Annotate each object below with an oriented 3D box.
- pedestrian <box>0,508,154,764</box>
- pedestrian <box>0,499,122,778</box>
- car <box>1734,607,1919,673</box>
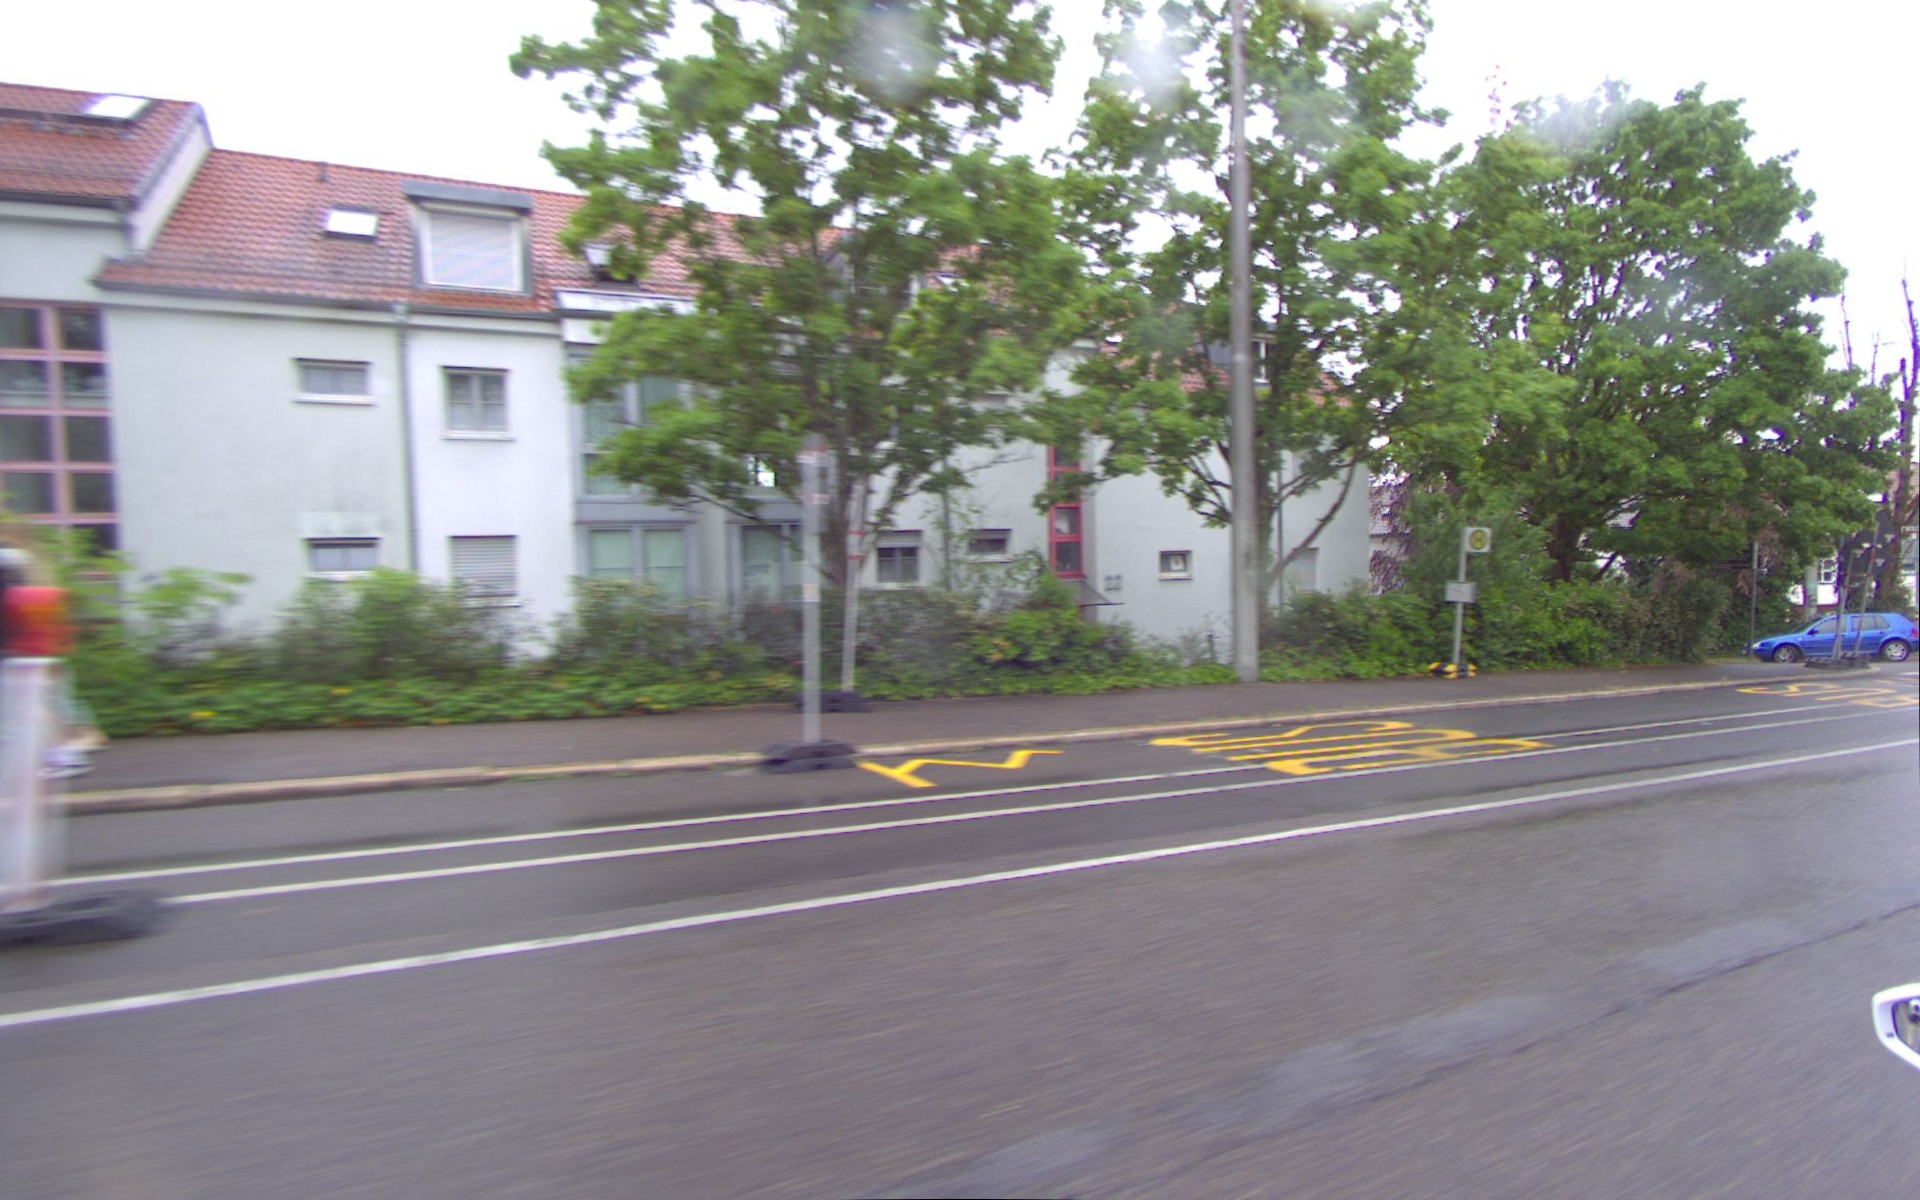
[{"bbox_3d":[-6.913,0.250,7.614,1.142,1.841,0.677,0,2,-31],"label":"pedestrian"},{"bbox_3d":[-6.553,0.244,6.871,1.134,1.841,0.704,0,2,-31],"label":"pedestrian"},{"bbox_3d":[25.893,1.148,30.117,3.867,1.688,1.840,3,1,25],"label":"car"}]
